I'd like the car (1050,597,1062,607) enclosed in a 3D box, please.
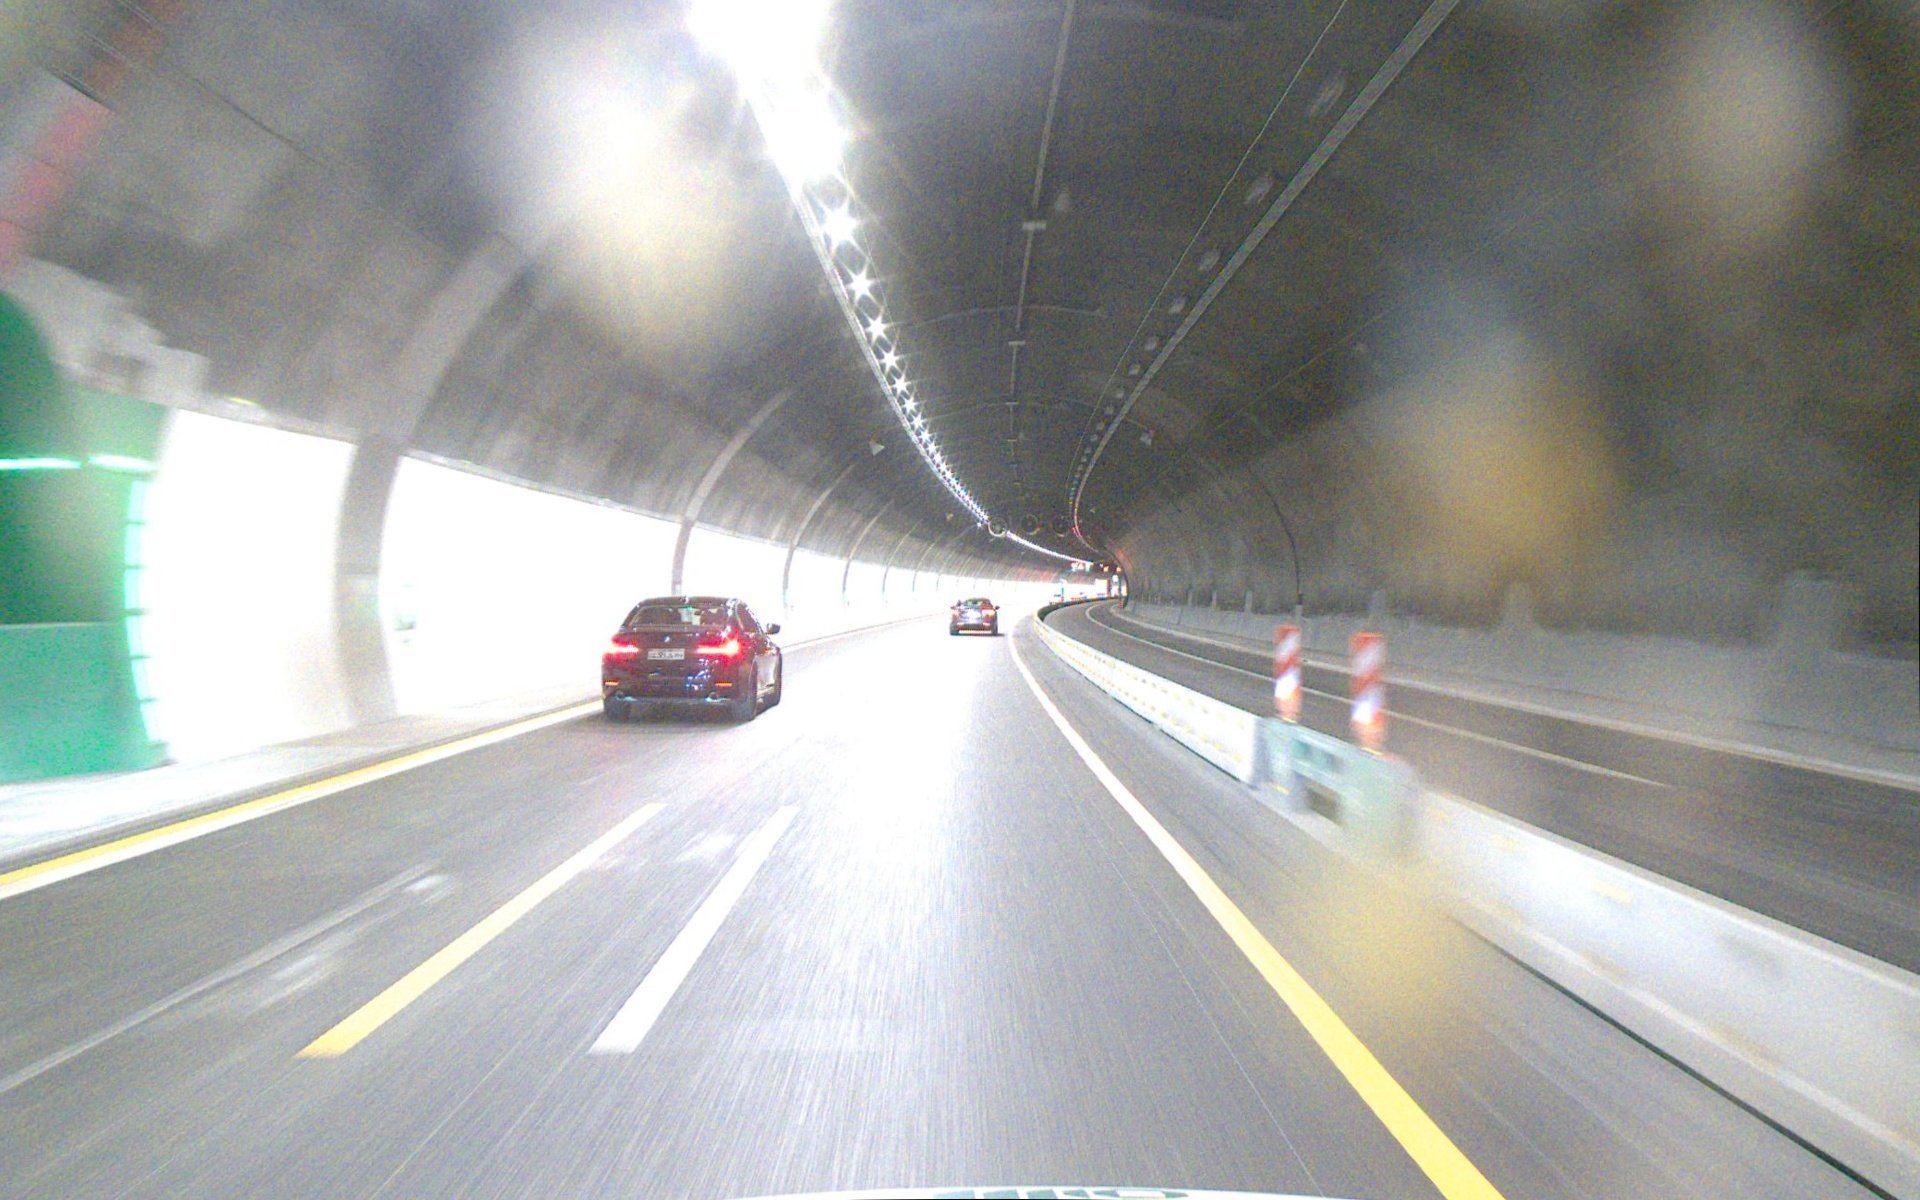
[{"bbox_3d":[13.019,0.282,224.476,1.562,1.356,3.751,0,0,2],"label":"car"}]

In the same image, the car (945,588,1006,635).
[{"bbox_3d":[0.638,0.423,64.272,2.096,1.735,4.002,0,0,4],"label":"car"}]

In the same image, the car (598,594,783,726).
[{"bbox_3d":[-3.317,0.676,21.238,1.742,1.463,4.880,1,0,-2],"label":"car"}]
